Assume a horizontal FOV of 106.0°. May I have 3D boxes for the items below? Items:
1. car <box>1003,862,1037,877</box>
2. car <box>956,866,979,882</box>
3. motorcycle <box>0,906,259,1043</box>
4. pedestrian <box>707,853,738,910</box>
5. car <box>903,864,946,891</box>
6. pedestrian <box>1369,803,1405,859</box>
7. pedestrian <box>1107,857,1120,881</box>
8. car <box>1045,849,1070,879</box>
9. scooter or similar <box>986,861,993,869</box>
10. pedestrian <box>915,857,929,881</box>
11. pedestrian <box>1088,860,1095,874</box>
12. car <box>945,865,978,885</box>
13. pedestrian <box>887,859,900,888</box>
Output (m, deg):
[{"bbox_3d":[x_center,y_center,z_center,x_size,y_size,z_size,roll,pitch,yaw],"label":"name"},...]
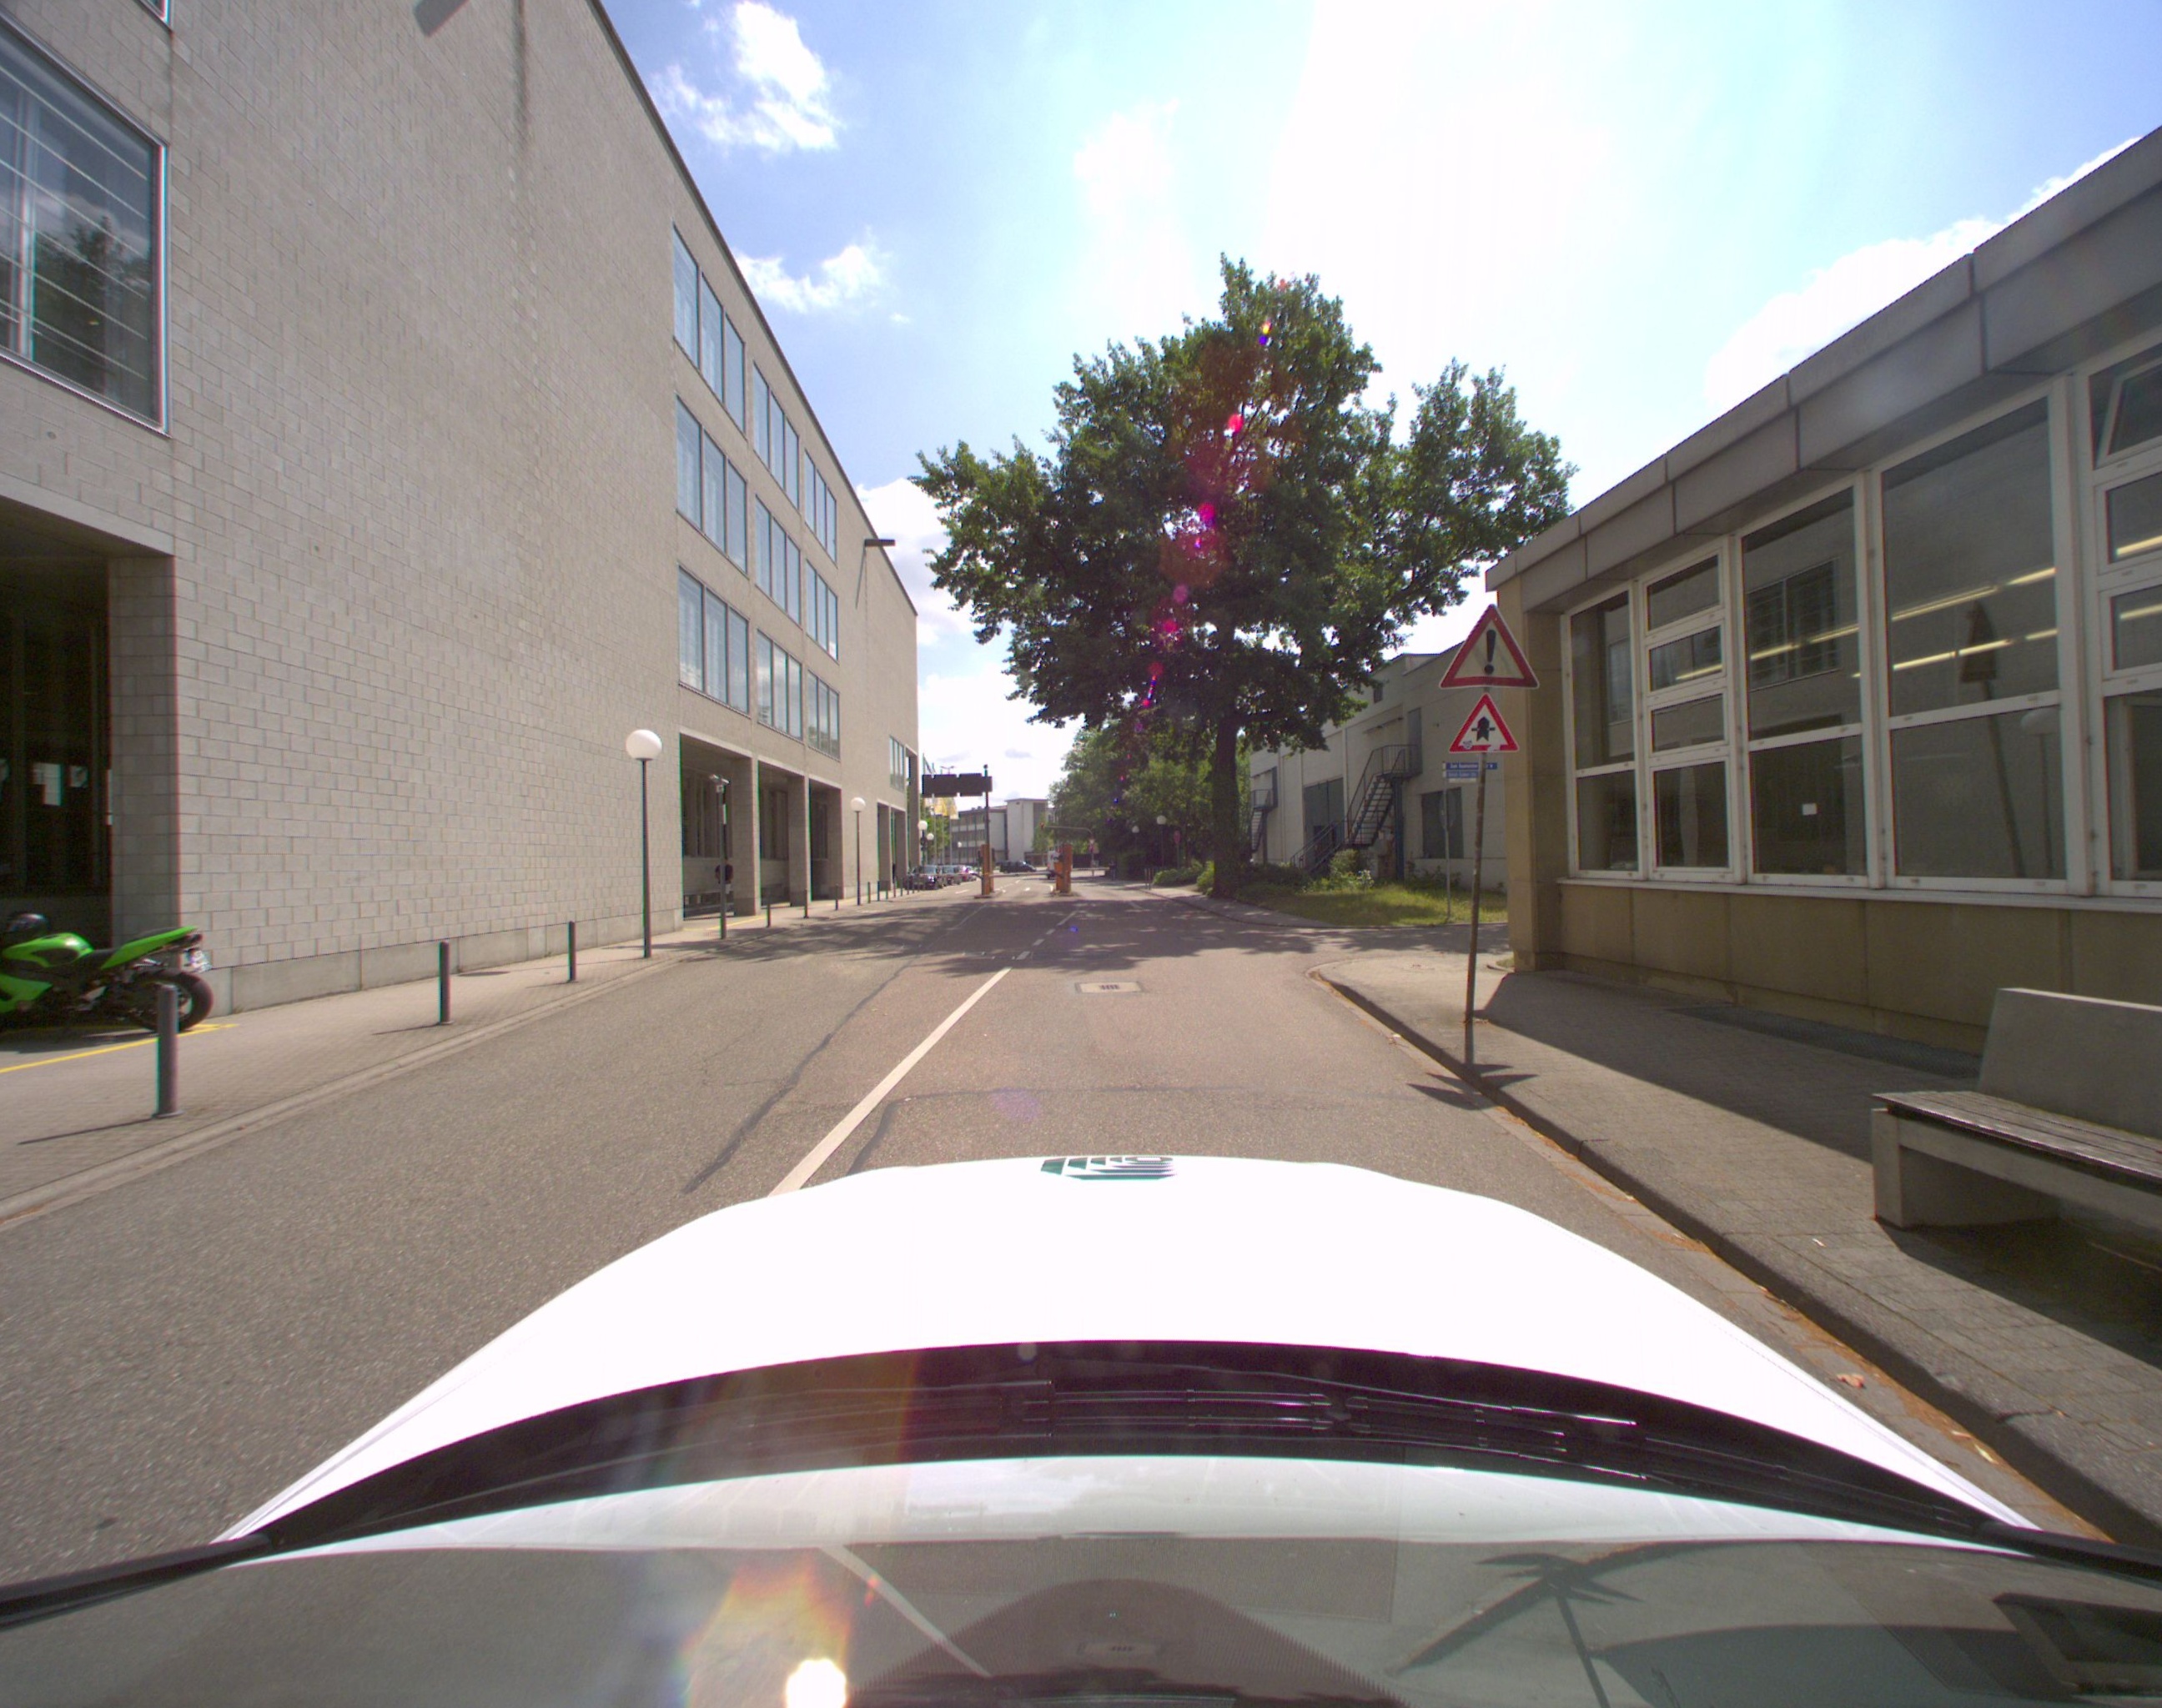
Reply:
[{"bbox_3d":[-7.522,1.906,100.487,4.070,1.747,1.726,-1,-1,-6],"label":"car"},{"bbox_3d":[-10.685,1.861,76.956,1.672,1.395,4.658,1,-1,-2],"label":"car"},{"bbox_3d":[-9.328,1.100,7.648,2.168,1.138,0.771,0,-1,-13],"label":"motorcycle"},{"bbox_3d":[-11.912,0.909,27.106,0.729,1.880,0.719,0,-1,-3],"label":"pedestrian"},{"bbox_3d":[-9.373,1.374,49.075,1.855,1.467,4.713,1,-1,-3],"label":"car"},{"bbox_3d":[11.424,-0.847,30.422,0.924,2.014,0.949,-2,-1,1],"label":"pedestrian"},{"bbox_3d":[2.378,1.105,59.987,0.738,1.674,1.254,-1,-1,-6],"label":"pedestrian"},{"bbox_3d":[-2.171,0.905,74.229,2.091,2.566,5.595,-2,0,-3],"label":"car"},{"bbox_3d":[-13.770,1.606,122.006,0.717,1.178,2.712,-1,-1,-13],"label":"scooter or similar"},{"bbox_3d":[-13.884,1.300,71.250,0.894,2.027,0.803,-1,-1,27],"label":"pedestrian"},{"bbox_3d":[1.171,1.421,89.751,0.730,1.576,0.773,0,-1,-8],"label":"pedestrian"},{"bbox_3d":[-8.831,1.566,60.622,1.855,1.378,5.011,1,-1,-3],"label":"car"},{"bbox_3d":[-15.627,1.649,68.037,0.752,2.422,0.741,-1,-1,14],"label":"pedestrian"}]
